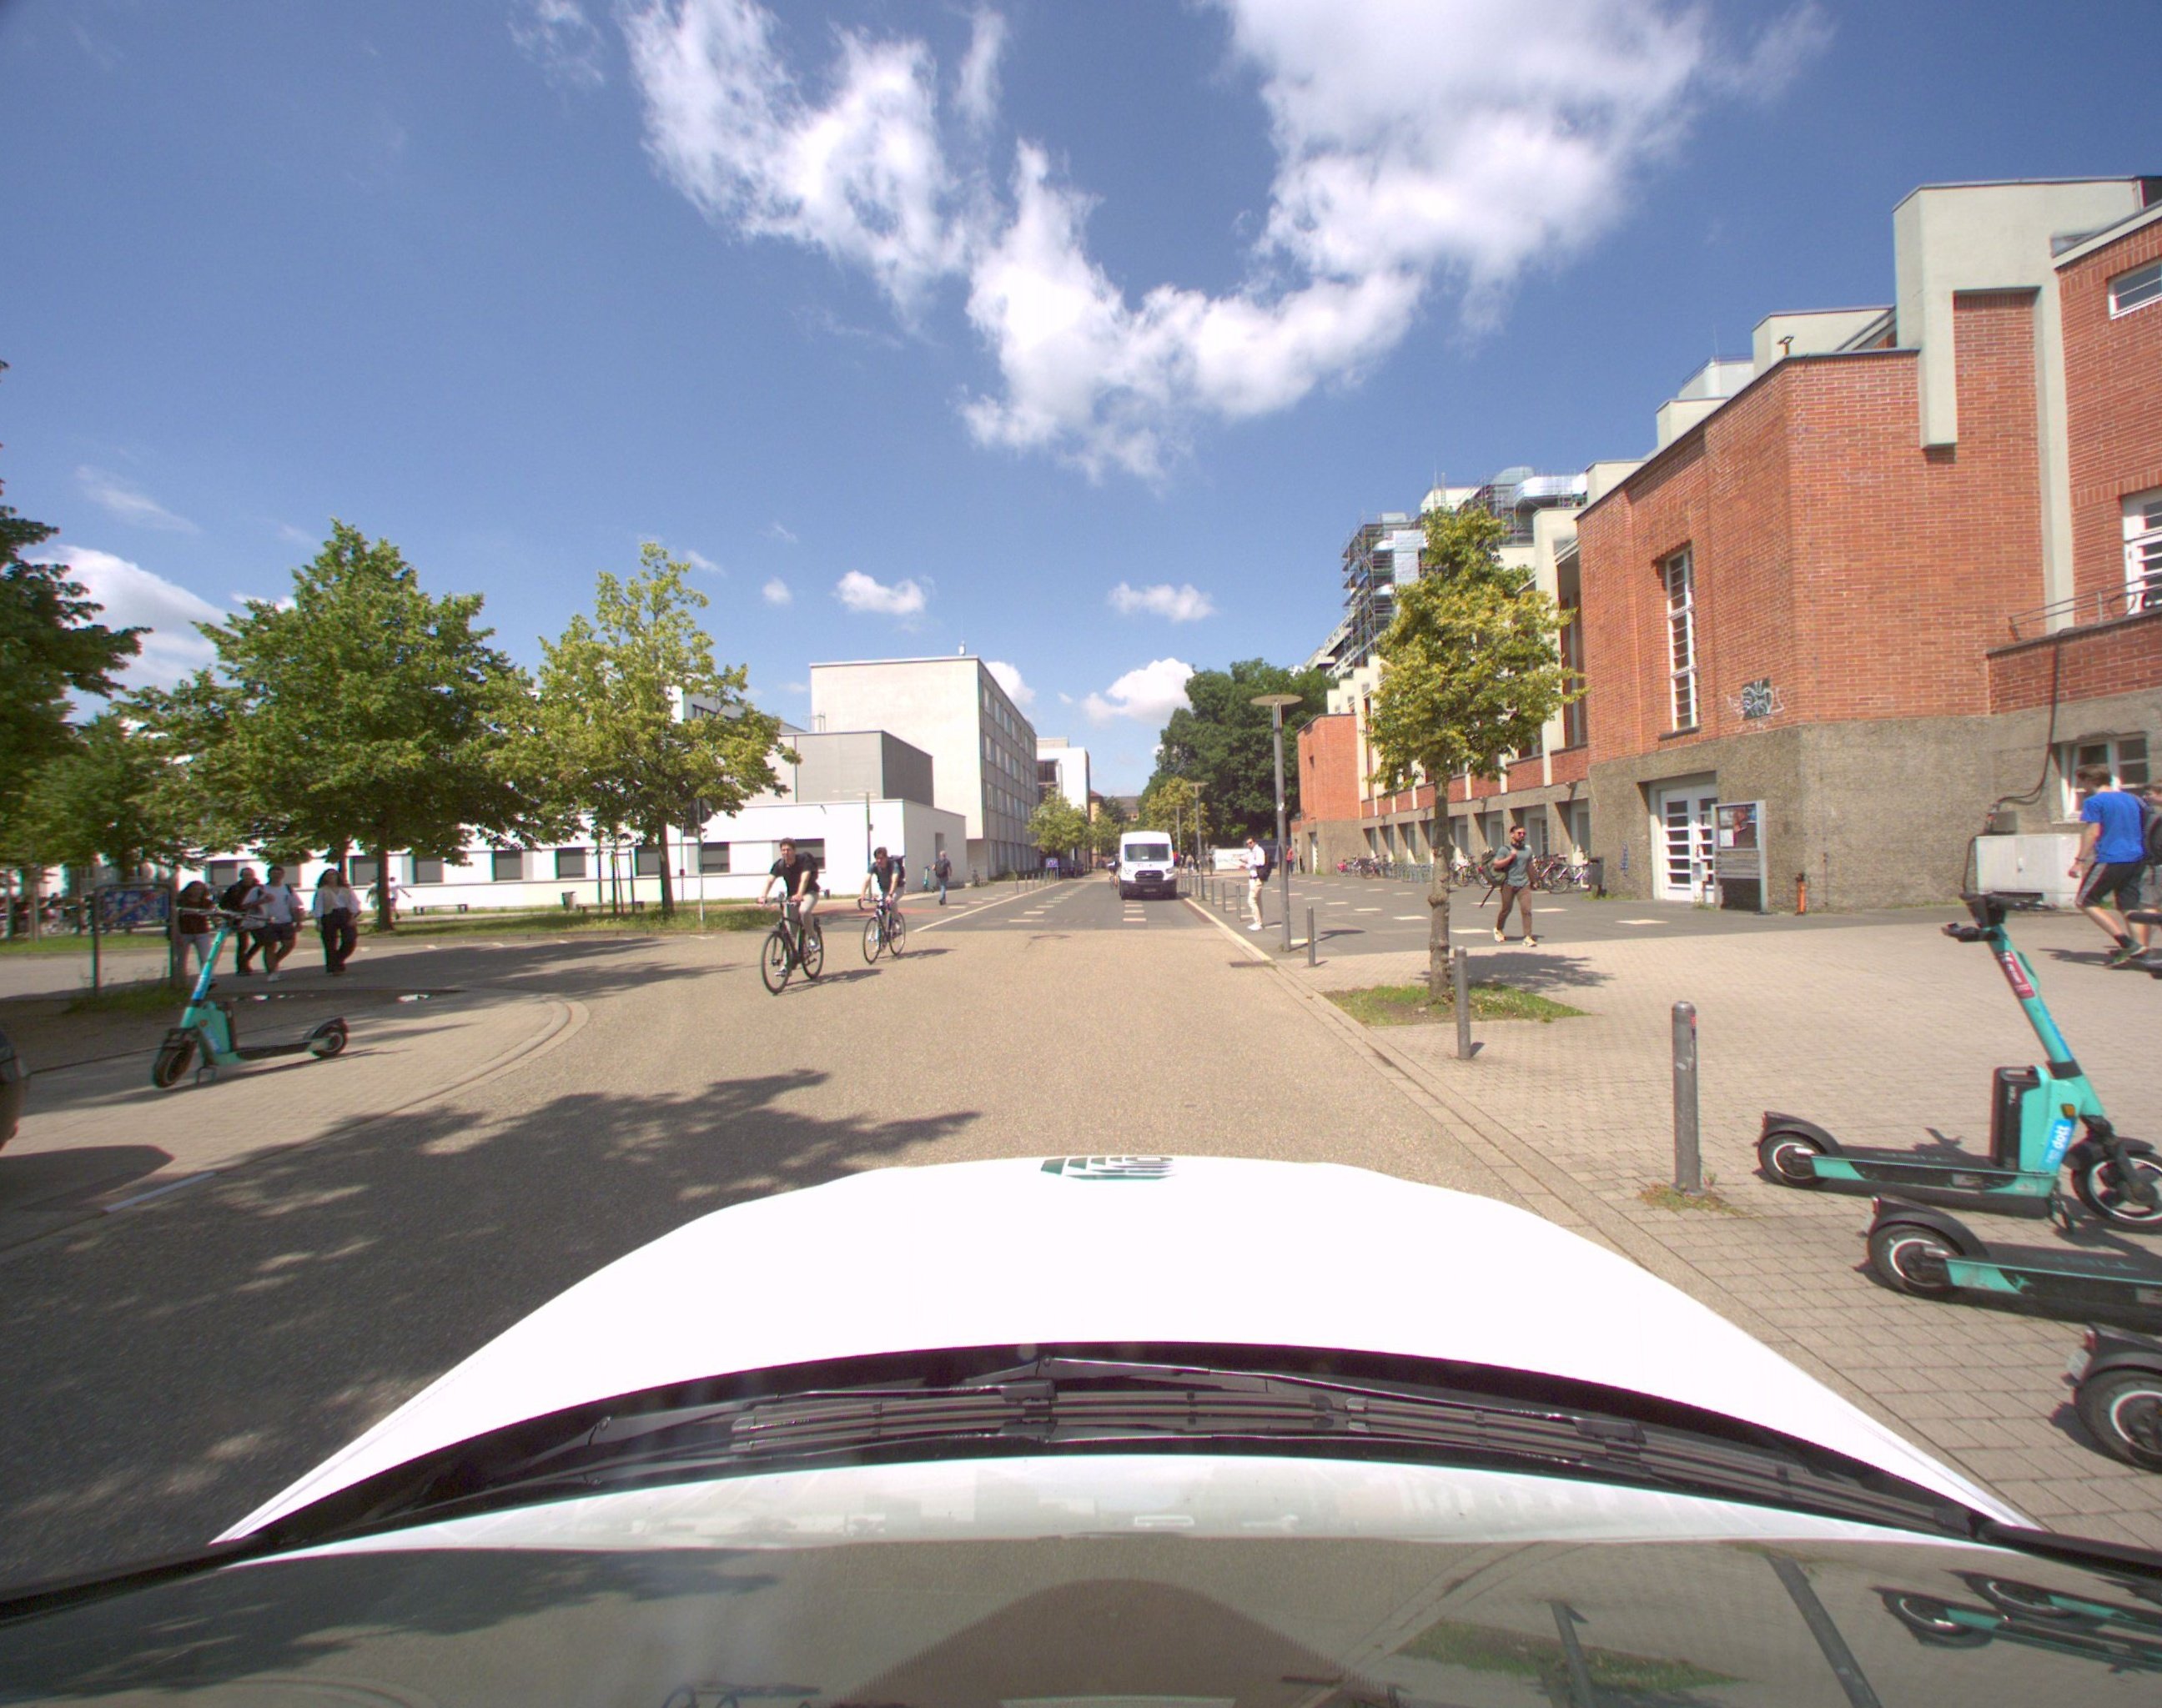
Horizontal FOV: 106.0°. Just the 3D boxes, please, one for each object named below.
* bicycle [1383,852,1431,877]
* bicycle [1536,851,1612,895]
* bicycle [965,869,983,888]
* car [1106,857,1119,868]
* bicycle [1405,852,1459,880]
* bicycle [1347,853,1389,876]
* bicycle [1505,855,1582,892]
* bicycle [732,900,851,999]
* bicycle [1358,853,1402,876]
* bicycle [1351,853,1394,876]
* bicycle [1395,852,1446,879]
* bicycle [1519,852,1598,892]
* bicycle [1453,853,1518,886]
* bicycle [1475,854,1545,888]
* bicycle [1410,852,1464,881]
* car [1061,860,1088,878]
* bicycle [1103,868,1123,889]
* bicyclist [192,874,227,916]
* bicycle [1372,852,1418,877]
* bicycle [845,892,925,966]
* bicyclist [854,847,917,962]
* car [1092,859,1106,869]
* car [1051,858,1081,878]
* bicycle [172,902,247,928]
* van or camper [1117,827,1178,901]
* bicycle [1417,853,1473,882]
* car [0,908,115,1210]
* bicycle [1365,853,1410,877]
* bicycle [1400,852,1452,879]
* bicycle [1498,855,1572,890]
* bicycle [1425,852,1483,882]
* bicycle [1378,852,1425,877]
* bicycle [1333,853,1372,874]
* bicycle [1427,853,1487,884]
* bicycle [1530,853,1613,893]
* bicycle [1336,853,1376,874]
[{"bbox_3d":[14.172,0.468,35.442,1.802,0.985,0.560,-4,-1,2],"label":"bicycle"},{"bbox_3d":[12.629,0.477,20.887,1.528,1.033,0.560,-3,-1,2],"label":"bicycle"},{"bbox_3d":[-5.914,1.337,45.189,0.520,0.985,1.636,-4,-1,8],"label":"bicycle"},{"bbox_3d":[5.165,1.378,133.192,1.786,1.530,4.008,-2,0,7],"label":"car"},{"bbox_3d":[13.843,0.467,32.149,1.802,0.985,0.560,-4,-1,2],"label":"bicycle"},{"bbox_3d":[13.878,0.502,39.422,1.802,0.985,0.560,-4,-1,2],"label":"bicycle"},{"bbox_3d":[12.941,0.537,22.809,1.802,0.912,0.560,-3,-1,2],"label":"bicycle"},{"bbox_3d":[-3.477,1.107,9.977,0.674,0.965,2.003,-1,0,1],"label":"bicycle"},{"bbox_3d":[13.891,0.492,37.884,1.802,0.985,0.560,-4,-1,2],"label":"bicycle"},{"bbox_3d":[13.853,0.501,38.716,1.802,0.985,0.560,-4,-1,2],"label":"bicycle"},{"bbox_3d":[13.927,0.452,33.384,1.802,0.985,0.560,-4,-1,2],"label":"bicycle"},{"bbox_3d":[12.997,0.491,22.200,1.777,0.978,0.560,-3,-1,1],"label":"bicycle"},{"bbox_3d":[13.320,0.499,26.823,1.802,0.985,0.560,-4,-1,2],"label":"bicycle"},{"bbox_3d":[13.192,0.527,25.062,1.802,0.912,0.560,-4,-1,2],"label":"bicycle"},{"bbox_3d":[13.792,0.479,31.563,1.802,0.985,0.560,-4,-1,2],"label":"bicycle"},{"bbox_3d":[-0.567,1.329,74.578,1.786,1.530,4.008,-2,0,7],"label":"car"},{"bbox_3d":[1.627,1.243,41.205,0.702,0.993,1.915,-2,-2,9],"label":"bicycle"},{"bbox_3d":[-37.498,1.752,35.050,0.691,1.756,0.807,-1,-1,-12],"label":"bicyclist"},{"bbox_3d":[14.076,0.479,36.534,1.802,0.985,0.560,-4,-1,2],"label":"bicycle"},{"bbox_3d":[-2.960,1.107,12.502,0.674,0.965,2.004,0,0,2],"label":"bicycle"},{"bbox_3d":[-2.965,0.737,12.436,0.665,1.681,0.993,-1,1,1],"label":"bicyclist"},{"bbox_3d":[2.946,1.573,133.498,1.786,1.530,4.008,-2,0,7],"label":"car"},{"bbox_3d":[-1.199,1.151,67.148,1.786,1.530,4.008,-2,0,7],"label":"car"},{"bbox_3d":[-37.474,2.602,35.048,2.118,1.002,0.807,-1,-1,-13],"label":"bicycle"},{"bbox_3d":[2.447,0.379,30.210,1.985,2.446,4.574,-2,-1,4],"label":"van or camper"},{"bbox_3d":[13.785,0.492,30.853,1.802,0.985,0.560,-4,-1,2],"label":"bicycle"},{"bbox_3d":[-5.716,0.944,2.073,1.637,1.300,3.932,-2,0,5],"label":"car"},{"bbox_3d":[13.969,0.486,37.148,1.802,0.985,0.560,-4,-1,2],"label":"bicycle"},{"bbox_3d":[13.897,0.462,32.789,1.802,0.985,0.560,-4,-1,2],"label":"bicycle"},{"bbox_3d":[13.173,0.525,23.656,1.802,0.912,0.560,-3,-1,2],"label":"bicycle"},{"bbox_3d":[13.755,0.476,30.054,1.802,0.985,0.560,-4,-1,2],"label":"bicycle"},{"bbox_3d":[14.121,0.465,35.942,1.802,0.985,0.560,-4,-1,2],"label":"bicycle"},{"bbox_3d":[14.219,0.491,42.712,1.802,0.985,0.560,-4,-1,2],"label":"bicycle"},{"bbox_3d":[13.286,0.501,28.789,1.802,0.985,0.560,-4,-1,2],"label":"bicycle"},{"bbox_3d":[12.968,0.500,21.556,1.783,0.969,0.560,-3,-1,2],"label":"bicycle"},{"bbox_3d":[14.088,0.498,41.753,1.802,0.985,0.560,-4,-1,2],"label":"bicycle"}]
